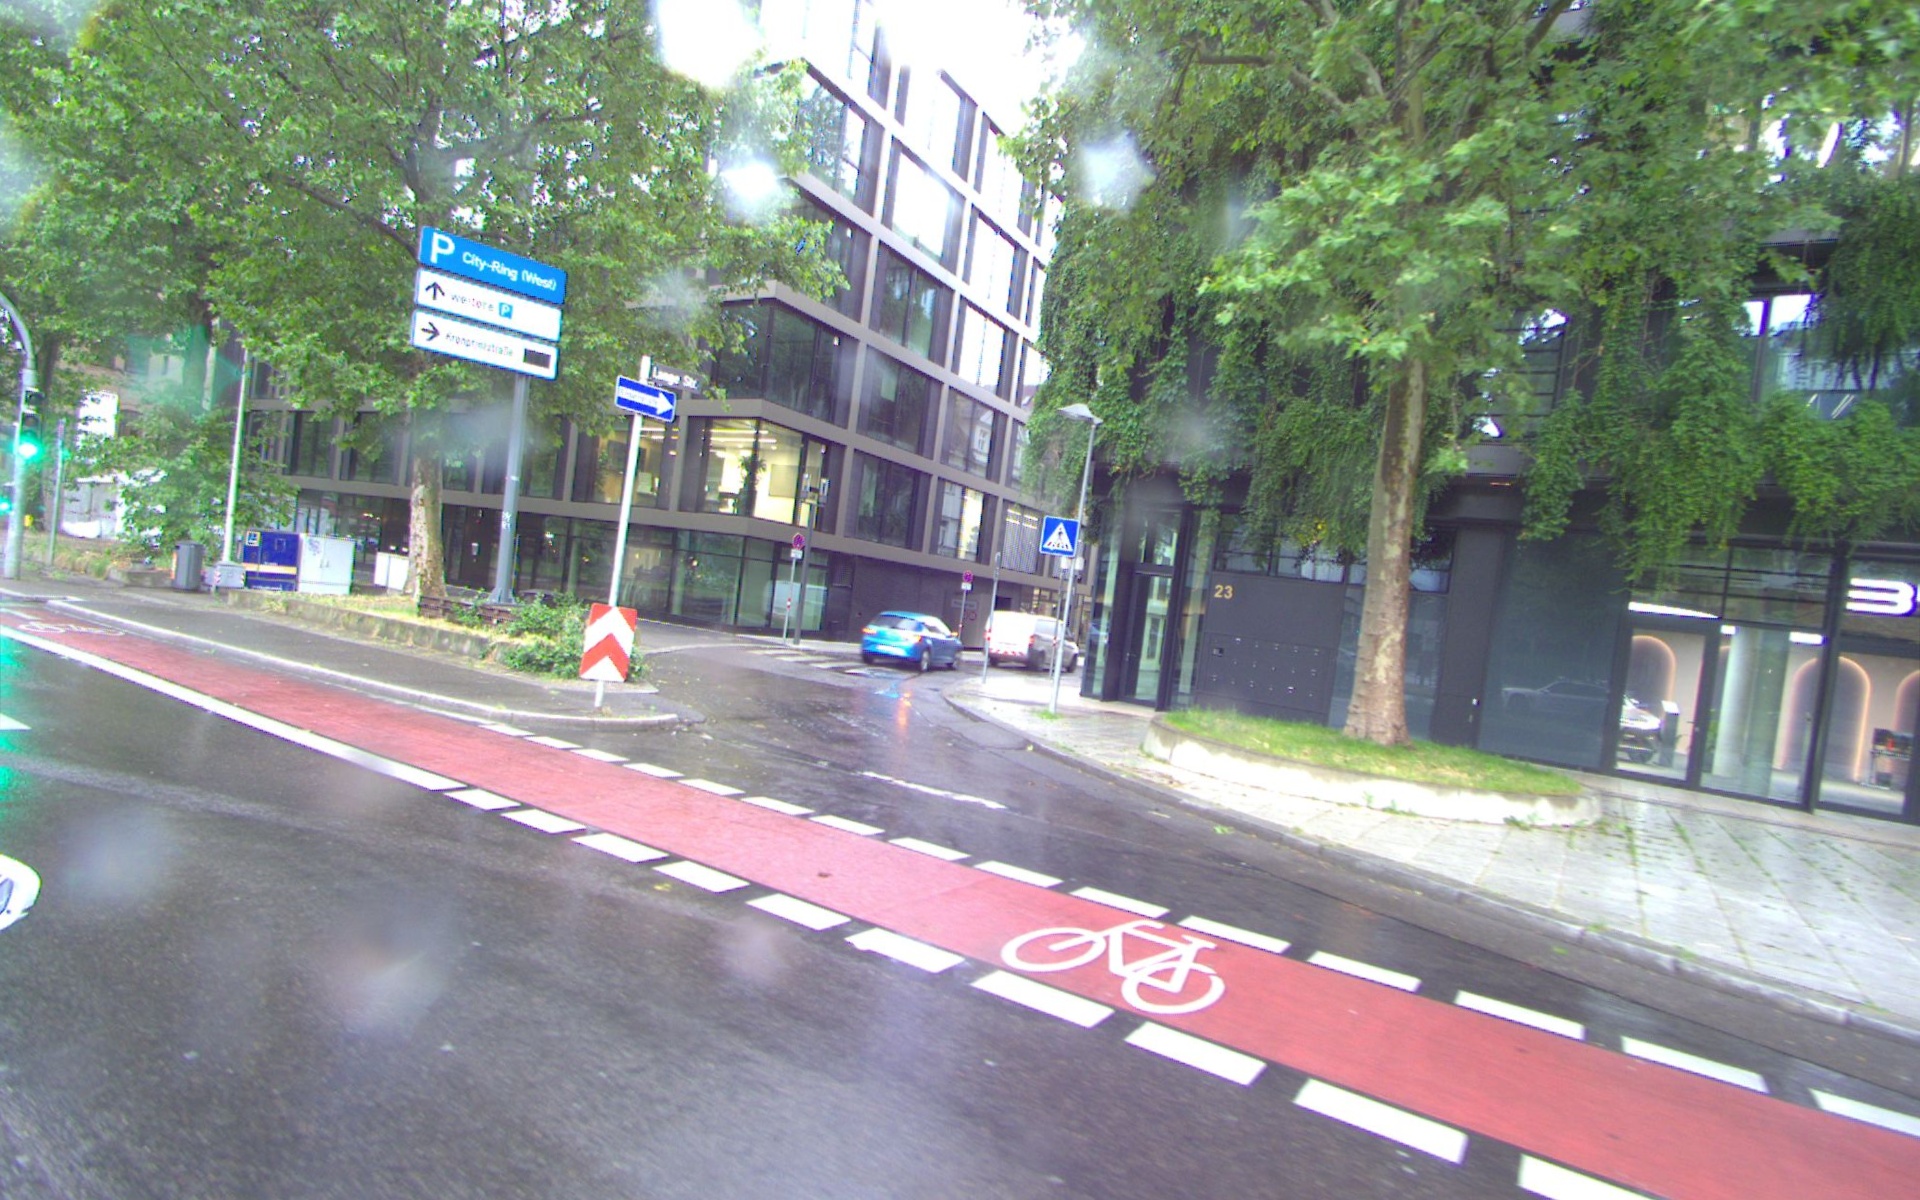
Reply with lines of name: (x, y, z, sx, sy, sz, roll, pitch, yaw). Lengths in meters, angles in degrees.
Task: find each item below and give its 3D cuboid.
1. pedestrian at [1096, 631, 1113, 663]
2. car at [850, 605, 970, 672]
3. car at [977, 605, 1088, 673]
pedestrian: (7.315, 2.381, 50.981, 0.537, 1.579, 0.503, 6, -1, 29)
car: (-1.237, 1.059, 27.029, 1.767, 1.453, 4.064, 7, -1, 18)
car: (2.623, 1.437, 35.192, 1.892, 1.969, 4.959, 8, 0, 27)
